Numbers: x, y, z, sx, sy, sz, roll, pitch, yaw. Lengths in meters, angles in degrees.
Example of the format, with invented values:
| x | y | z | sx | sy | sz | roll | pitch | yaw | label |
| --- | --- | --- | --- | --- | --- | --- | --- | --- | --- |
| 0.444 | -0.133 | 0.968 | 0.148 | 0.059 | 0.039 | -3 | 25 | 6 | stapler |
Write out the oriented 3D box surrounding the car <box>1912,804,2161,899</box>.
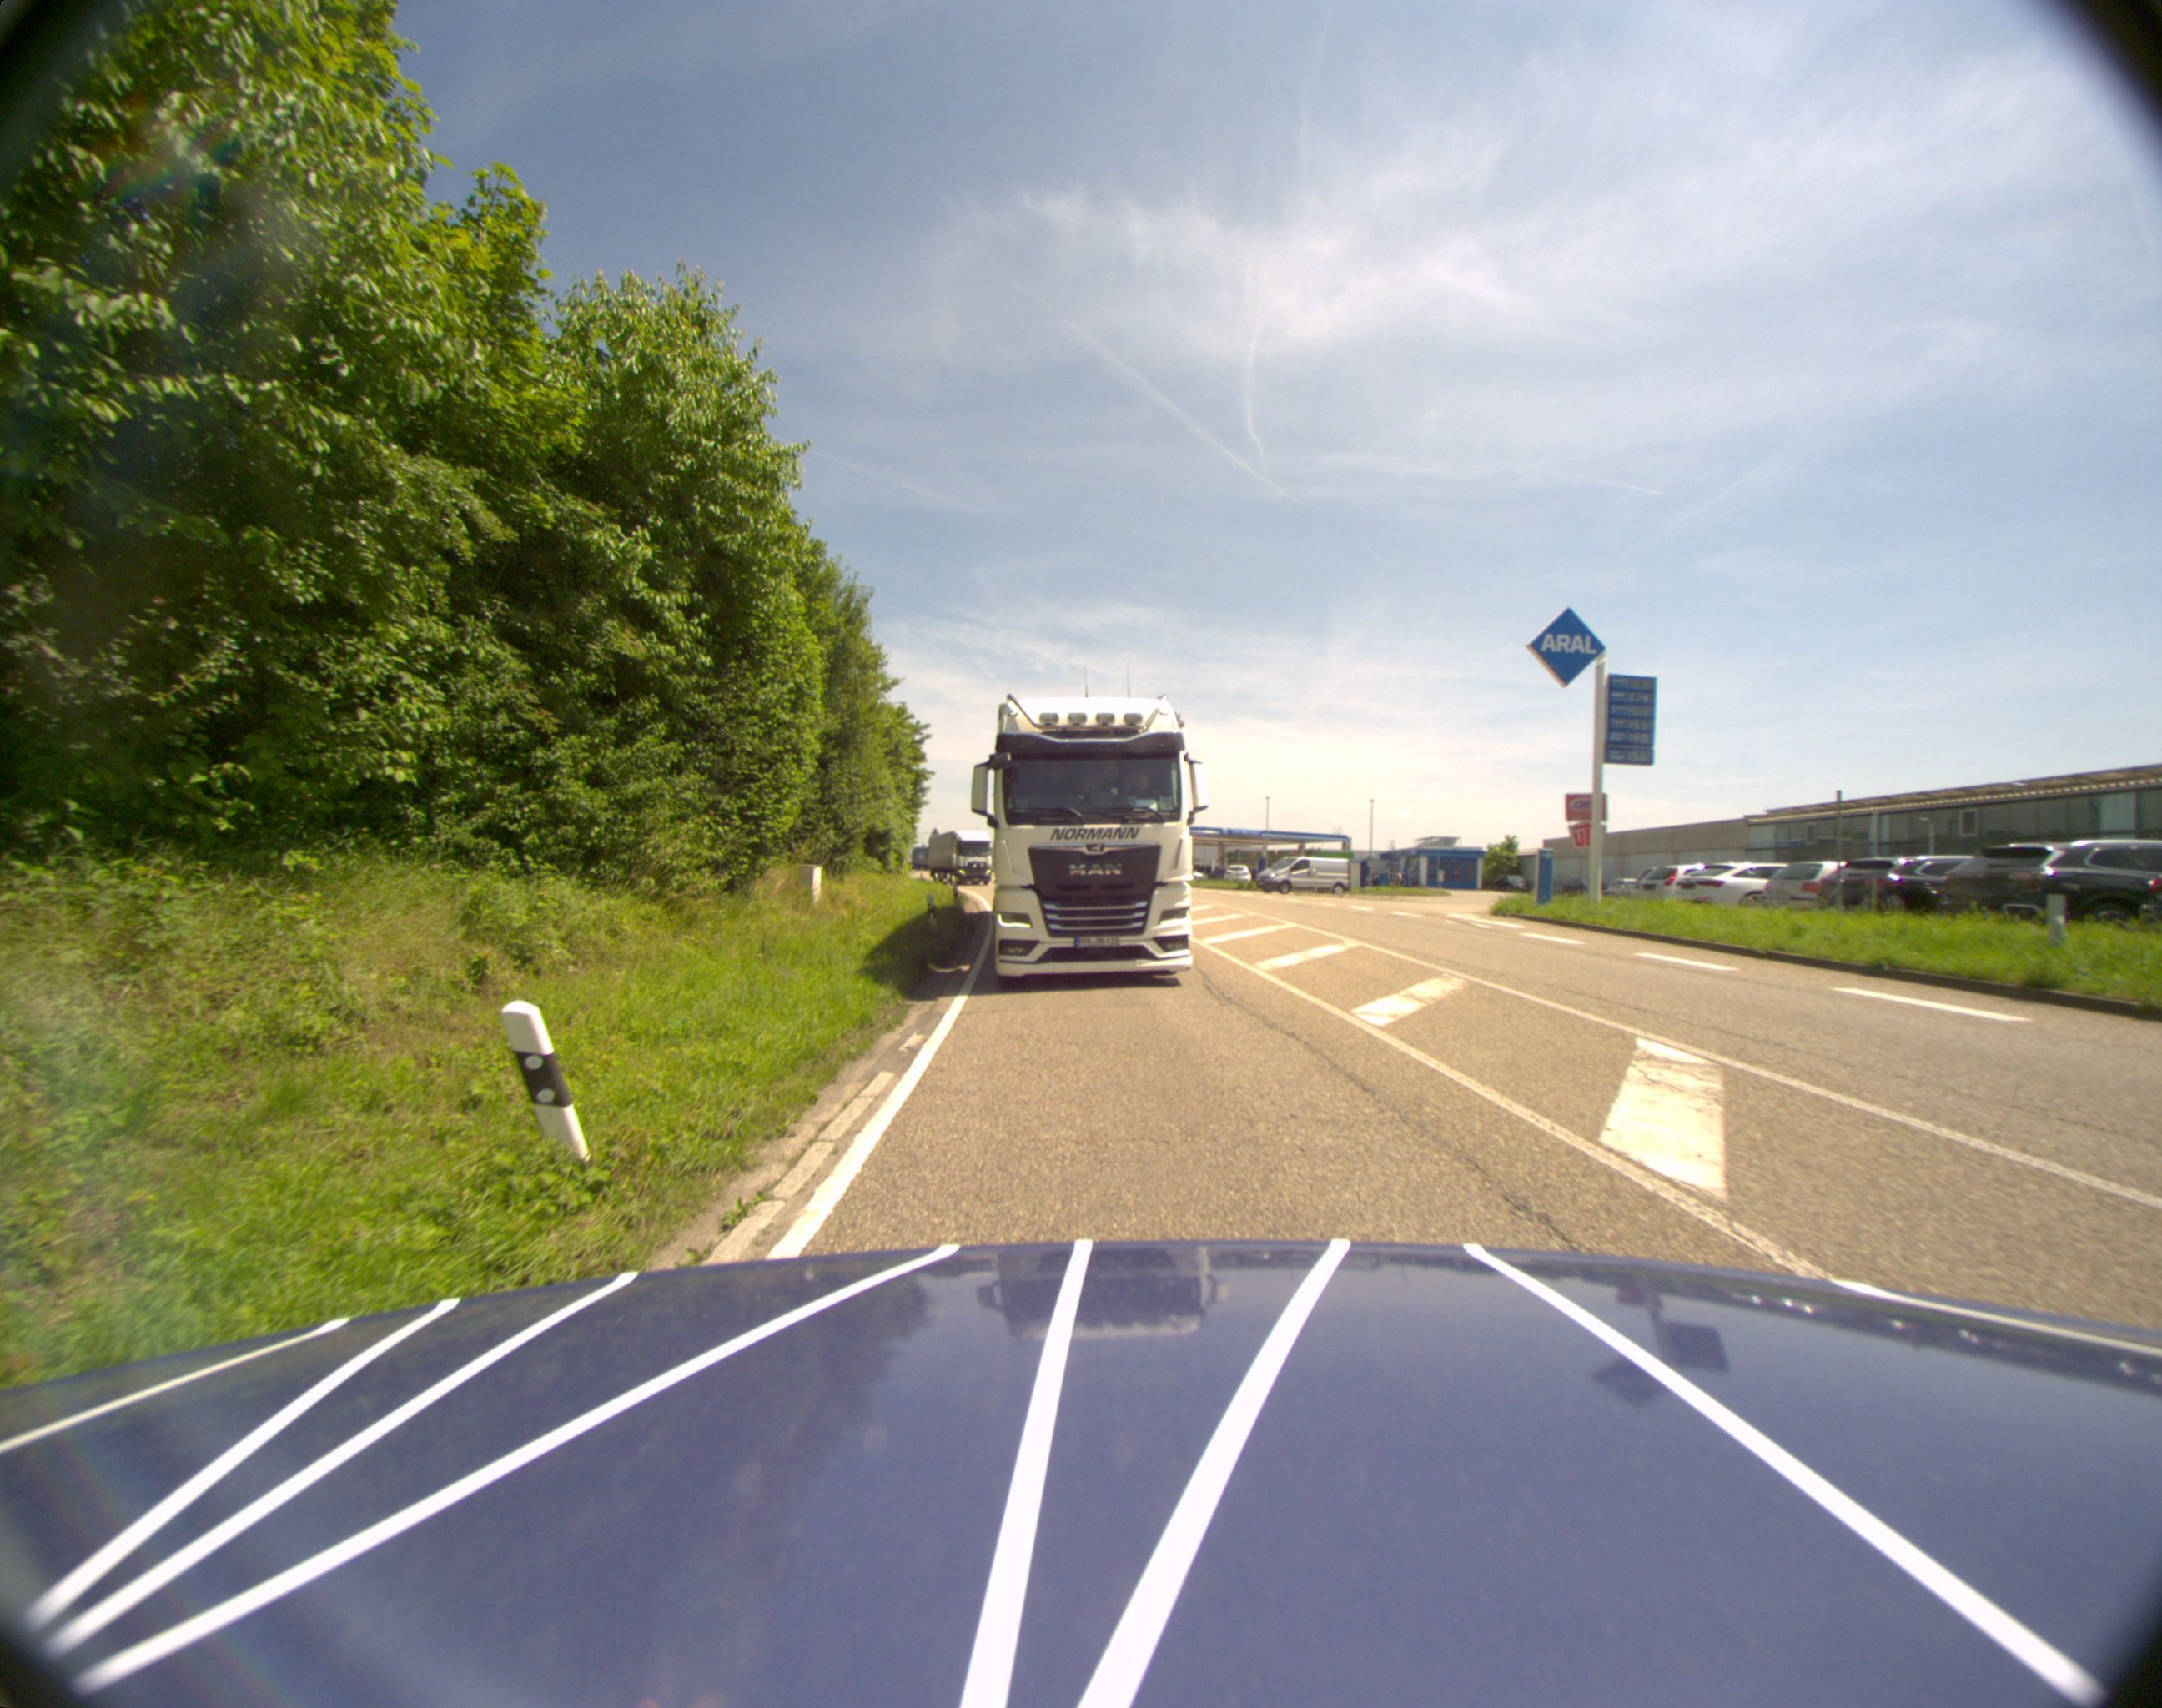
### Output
| x | y | z | sx | sy | sz | roll | pitch | yaw | label |
| --- | --- | --- | --- | --- | --- | --- | --- | --- | --- |
| 16.041 | 0.008 | 11.687 | 3.994 | 1.324 | 2.002 | 2 | 0 | 9 | car |

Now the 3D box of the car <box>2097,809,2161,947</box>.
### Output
| x | y | z | sx | sy | sz | roll | pitch | yaw | label |
| --- | --- | --- | --- | --- | --- | --- | --- | --- | --- |
| 15.587 | 0.355 | 8.974 | 3.994 | 1.739 | 2.002 | 2 | 0 | 9 | car |

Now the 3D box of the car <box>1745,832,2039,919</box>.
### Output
| x | y | z | sx | sy | sz | roll | pitch | yaw | label |
| --- | --- | --- | --- | --- | --- | --- | --- | --- | --- |
| 17.397 | 0.406 | 16.536 | 3.994 | 1.740 | 1.936 | 0 | 1 | 10 | car |

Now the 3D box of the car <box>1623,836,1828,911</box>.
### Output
| x | y | z | sx | sy | sz | roll | pitch | yaw | label |
| --- | --- | --- | --- | --- | --- | --- | --- | --- | --- |
| 18.200 | 0.509 | 21.654 | 3.994 | 2.002 | 2.001 | 0 | 0 | 8 | car |

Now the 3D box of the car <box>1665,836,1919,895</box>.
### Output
| x | y | z | sx | sy | sz | roll | pitch | yaw | label |
| --- | --- | --- | --- | --- | --- | --- | --- | --- | --- |
| 17.513 | 0.271 | 18.934 | 4.244 | 1.351 | 2.001 | 0 | 0 | 8 | car |

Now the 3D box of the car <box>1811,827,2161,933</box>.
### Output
| x | y | z | sx | sy | sz | roll | pitch | yaw | label |
| --- | --- | --- | --- | --- | --- | --- | --- | --- | --- |
| 16.360 | 0.405 | 13.816 | 3.994 | 1.740 | 2.001 | 0 | 1 | 10 | car |

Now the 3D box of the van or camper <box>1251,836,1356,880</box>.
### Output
| x | y | z | sx | sy | sz | roll | pitch | yaw | label |
| --- | --- | --- | --- | --- | --- | --- | --- | --- | --- |
| 11.490 | 0.203 | 39.316 | 4.867 | 1.893 | 1.901 | 4 | 0 | -15 | van or camper |

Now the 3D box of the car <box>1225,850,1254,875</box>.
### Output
| x | y | z | sx | sy | sz | roll | pitch | yaw | label |
| --- | --- | --- | --- | --- | --- | --- | --- | --- | --- |
| 11.505 | 0.578 | 54.938 | 1.865 | 1.702 | 4.523 | 0 | 1 | 14 | car |

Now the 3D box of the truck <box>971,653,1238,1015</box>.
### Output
| x | y | z | sx | sy | sz | roll | pitch | yaw | label |
| --- | --- | --- | --- | --- | --- | --- | --- | --- | --- |
| -0.436 | -0.405 | 17.524 | 2.982 | 4.070 | 17.622 | -2 | 1 | -5 | truck |

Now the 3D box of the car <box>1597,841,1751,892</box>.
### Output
| x | y | z | sx | sy | sz | roll | pitch | yaw | label |
| --- | --- | --- | --- | --- | --- | --- | --- | --- | --- |
| 18.504 | 0.380 | 23.842 | 3.449 | 1.433 | 1.564 | 2 | 0 | 7 | car |

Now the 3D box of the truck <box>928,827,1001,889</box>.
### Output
| x | y | z | sx | sy | sz | roll | pitch | yaw | label |
| --- | --- | --- | --- | --- | --- | --- | --- | --- | --- |
| -9.951 | 0.194 | 62.759 | 2.985 | 4.446 | 16.423 | -2 | 1 | -19 | truck |

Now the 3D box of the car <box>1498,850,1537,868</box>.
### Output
| x | y | z | sx | sy | sz | roll | pitch | yaw | label |
| --- | --- | --- | --- | --- | --- | --- | --- | --- | --- |
| 36.970 | 0.439 | 64.381 | 1.757 | 1.433 | 3.904 | 0 | -1 | 12 | car |

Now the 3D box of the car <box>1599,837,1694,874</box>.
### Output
| x | y | z | sx | sy | sz | roll | pitch | yaw | label |
| --- | --- | --- | --- | --- | --- | --- | --- | --- | --- |
| 31.754 | 0.084 | 42.754 | 3.994 | 2.002 | 1.599 | 1 | 0 | 8 | car |

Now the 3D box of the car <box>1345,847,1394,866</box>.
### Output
| x | y | z | sx | sy | sz | roll | pitch | yaw | label |
| --- | --- | --- | --- | --- | --- | --- | --- | --- | --- |
| 27.207 | 0.238 | 71.745 | 3.994 | 1.597 | 1.948 | -2 | 0 | 10 | car |
